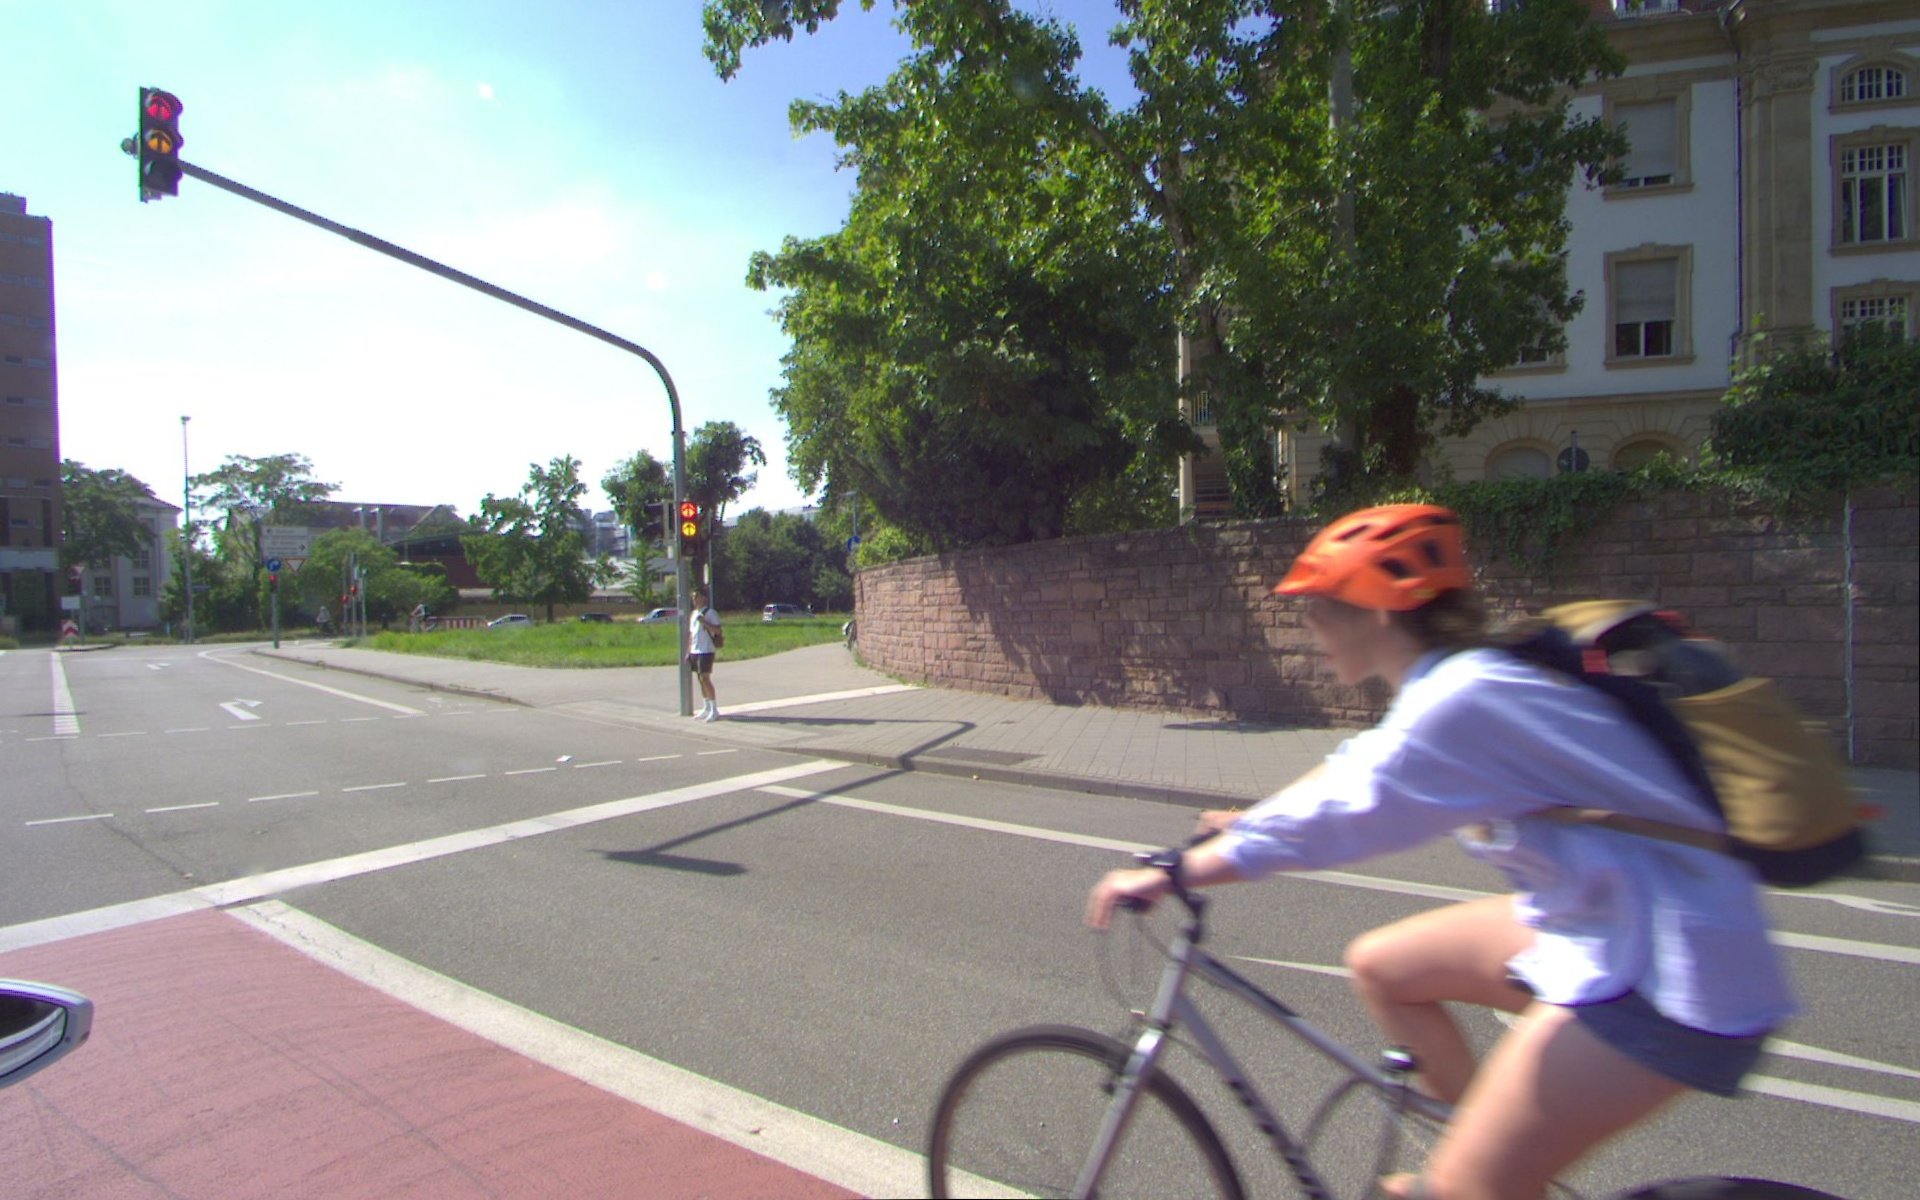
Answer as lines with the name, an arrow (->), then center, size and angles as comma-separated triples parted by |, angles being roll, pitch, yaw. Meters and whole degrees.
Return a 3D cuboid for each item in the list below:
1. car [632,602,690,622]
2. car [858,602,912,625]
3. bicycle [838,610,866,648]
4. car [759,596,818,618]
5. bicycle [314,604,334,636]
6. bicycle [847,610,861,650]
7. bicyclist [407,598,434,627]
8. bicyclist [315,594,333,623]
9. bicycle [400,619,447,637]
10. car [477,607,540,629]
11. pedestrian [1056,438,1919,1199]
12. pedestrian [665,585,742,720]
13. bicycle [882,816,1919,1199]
car -> -25.223, 0.981, 84.575 | 4.279, 1.590, 1.892 | -1, 1, -43
car -> -5.892, 1.072, 78.897 | 3.963, 1.526, 1.736 | 6, -5, -42
bicycle -> -3.403, 0.895, 31.466 | 0.344, 1.138, 1.428 | -2, 1, -28
car -> -12.570, 0.518, 73.597 | 3.958, 1.528, 1.736 | -2, 1, -42
bicycle -> -36.503, 1.127, 57.463 | 0.673, 1.789, 1.794 | -2, 1, -42
bicycle -> -3.161, 0.872, 29.814 | 0.342, 1.138, 1.434 | -1, 1, -8
bicyclist -> -28.246, 0.662, 52.446 | 1.120, 1.489, 0.496 | 0, -1, 5
bicyclist -> -36.515, 0.484, 57.468 | 0.673, 1.678, 0.910 | -2, 2, -42
bicycle -> -28.108, 1.466, 52.480 | 2.127, 0.928, 0.674 | -1, 1, 5
car -> -34.593, 1.377, 76.773 | 3.958, 1.483, 1.982 | -1, -1, -43
pedestrian -> 0.726, 0.589, 1.525 | 0.999, 1.485, 0.582 | -1, 0, 32
pedestrian -> -3.735, 0.744, 14.607 | 0.784, 1.900, 0.650 | 0, 3, 29
bicycle -> 0.866, 0.936, 1.448 | 1.999, 0.943, 0.595 | -1, -1, 32
